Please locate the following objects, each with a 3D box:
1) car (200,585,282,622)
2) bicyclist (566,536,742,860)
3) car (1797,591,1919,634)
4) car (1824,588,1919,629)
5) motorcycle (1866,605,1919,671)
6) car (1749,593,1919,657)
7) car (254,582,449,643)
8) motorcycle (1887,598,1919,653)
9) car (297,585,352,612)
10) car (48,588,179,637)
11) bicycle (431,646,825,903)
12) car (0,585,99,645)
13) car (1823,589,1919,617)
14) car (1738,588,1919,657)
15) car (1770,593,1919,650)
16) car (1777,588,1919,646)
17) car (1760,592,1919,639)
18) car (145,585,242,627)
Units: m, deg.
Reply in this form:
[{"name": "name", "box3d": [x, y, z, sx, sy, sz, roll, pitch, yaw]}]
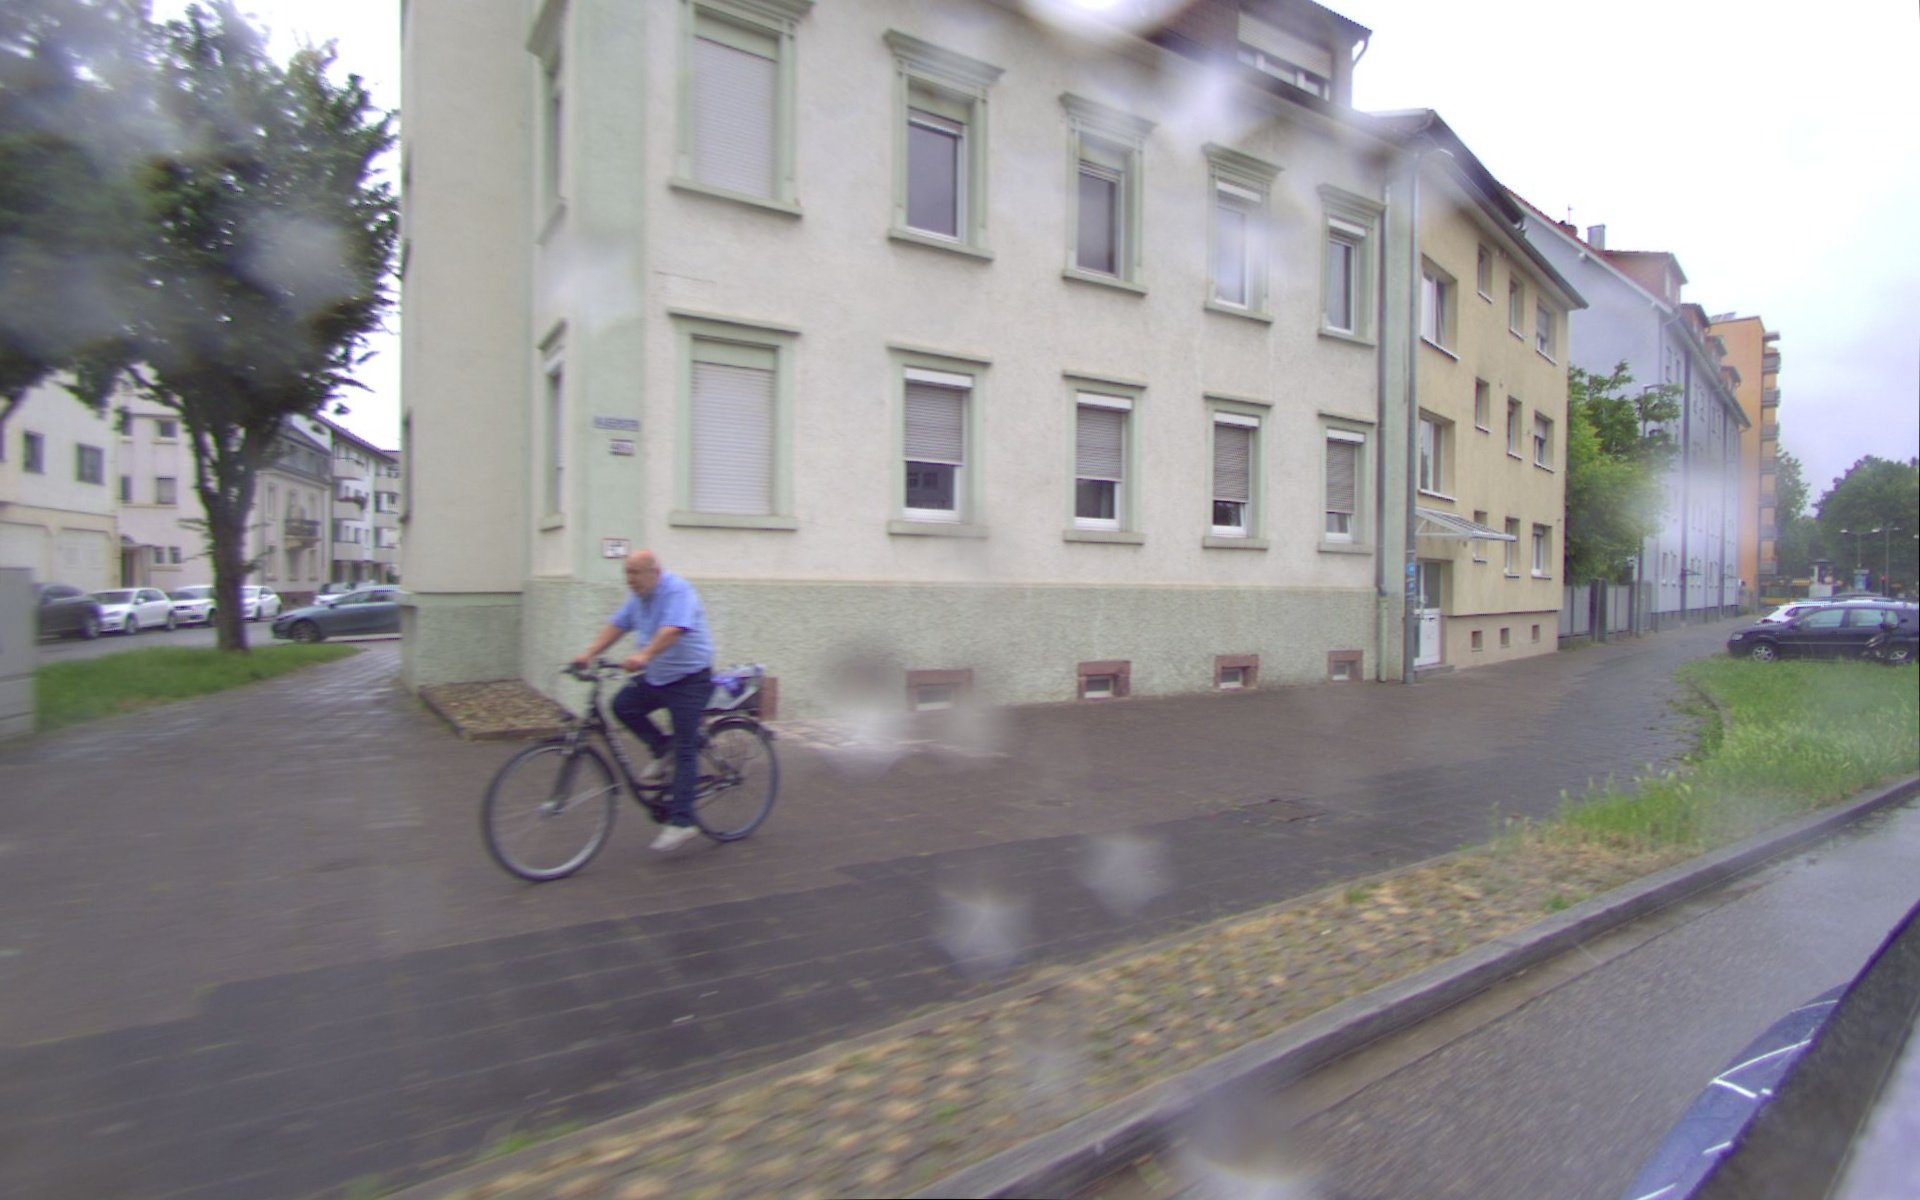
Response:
[{"name": "car", "box3d": [-29.190, 0.106, 41.196, 1.701, 1.406, 3.717, -1, 1, -19]}, {"name": "bicyclist", "box3d": [-1.661, 0.483, 5.498, 0.704, 1.602, 0.639, 1, 0, -43]}, {"name": "car", "box3d": [33.668, 0.438, 37.359, 4.161, 1.495, 1.624, 0, 1, 44]}, {"name": "car", "box3d": [37.477, 0.336, 40.619, 4.161, 1.589, 1.624, 0, 1, 44]}, {"name": "motorcycle", "box3d": [19.692, 0.777, 20.798, 1.588, 1.341, 0.684, 0, -1, 43]}, {"name": "car", "box3d": [22.143, 0.587, 25.004, 4.052, 1.473, 1.903, 0, -1, 44]}, {"name": "car", "box3d": [-16.506, 0.302, 27.702, 4.373, 1.553, 1.741, -1, 1, -24]}, {"name": "motorcycle", "box3d": [25.030, 0.659, 26.017, 1.763, 1.390, 0.723, 0, 1, 44]}, {"name": "car", "box3d": [-34.323, -0.092, 54.731, 1.701, 1.406, 3.717, -1, 1, -19]}, {"name": "car", "box3d": [-26.052, 0.325, 31.330, 1.701, 1.406, 4.188, -1, 1, -19]}, {"name": "bicycle", "box3d": [-1.719, 0.830, 5.496, 1.939, 1.073, 0.673, 0, 0, -44]}, {"name": "car", "box3d": [-24.172, 0.342, 25.988, 1.701, 1.446, 4.188, -1, 1, -19]}, {"name": "car", "box3d": [51.095, 0.145, 56.668, 4.161, 1.471, 1.624, 0, 1, 44]}, {"name": "car", "box3d": [20.298, 0.486, 23.210, 3.751, 1.473, 1.772, 0, -1, 44]}, {"name": "car", "box3d": [25.348, 0.568, 28.439, 3.914, 1.499, 1.828, 0, 1, 44]}, {"name": "car", "box3d": [26.982, 0.460, 30.216, 3.914, 1.635, 1.665, 0, 1, 44]}, {"name": "car", "box3d": [30.251, 0.479, 34.591, 4.378, 1.495, 2.018, 0, 1, 44]}, {"name": "car", "box3d": [-27.851, 0.178, 36.902, 1.701, 1.406, 3.717, -1, 1, -19]}]
